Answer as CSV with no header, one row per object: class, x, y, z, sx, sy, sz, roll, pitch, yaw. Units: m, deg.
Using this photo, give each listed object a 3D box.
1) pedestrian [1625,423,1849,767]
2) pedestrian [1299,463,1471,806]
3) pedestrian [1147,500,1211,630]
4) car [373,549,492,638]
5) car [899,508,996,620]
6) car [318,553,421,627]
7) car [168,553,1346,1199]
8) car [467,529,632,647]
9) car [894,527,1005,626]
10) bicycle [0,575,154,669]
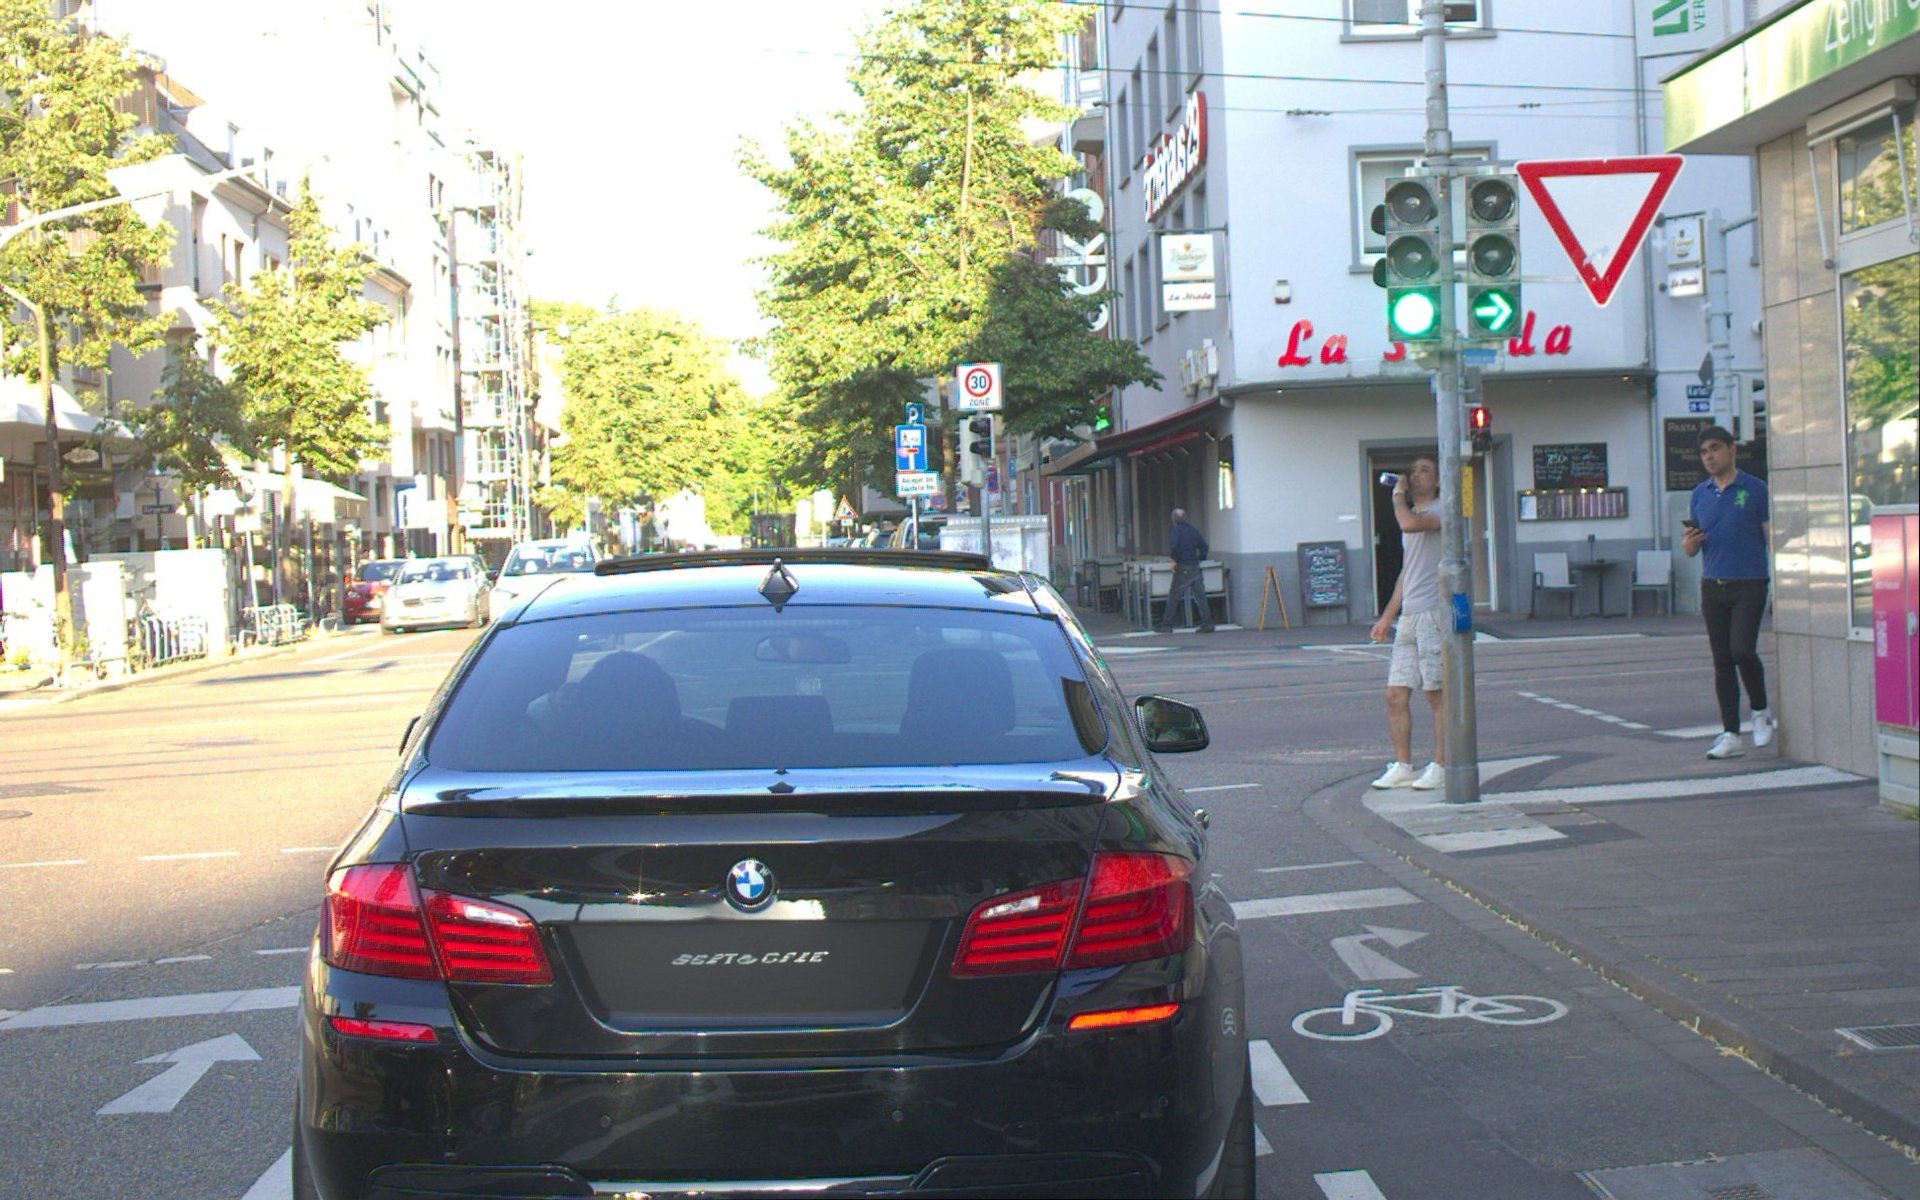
pedestrian,4.287,-0.032,18.981,0.877,1.821,0.693,-3,1,-26
pedestrian,2.220,0.172,18.018,0.651,1.736,0.694,-2,1,-10
pedestrian,2.870,-0.469,45.150,0.711,1.670,0.703,-2,1,-2
car,-10.059,-0.130,65.796,1.834,1.551,3.780,-3,0,-4
car,-0.196,-0.664,60.605,1.640,1.867,3.607,1,2,1
car,-13.392,-0.229,78.135,1.834,1.551,3.780,-3,0,-4
car,-0.372,0.649,7.952,1.953,1.493,4.465,0,1,-1
car,-6.001,-0.179,50.664,2.107,1.551,4.013,-3,0,-4
car,-0.142,-0.391,53.911,1.640,1.439,3.607,-2,1,1
bicycle,-12.227,0.294,46.827,2.366,1.248,0.640,-1,0,-6
